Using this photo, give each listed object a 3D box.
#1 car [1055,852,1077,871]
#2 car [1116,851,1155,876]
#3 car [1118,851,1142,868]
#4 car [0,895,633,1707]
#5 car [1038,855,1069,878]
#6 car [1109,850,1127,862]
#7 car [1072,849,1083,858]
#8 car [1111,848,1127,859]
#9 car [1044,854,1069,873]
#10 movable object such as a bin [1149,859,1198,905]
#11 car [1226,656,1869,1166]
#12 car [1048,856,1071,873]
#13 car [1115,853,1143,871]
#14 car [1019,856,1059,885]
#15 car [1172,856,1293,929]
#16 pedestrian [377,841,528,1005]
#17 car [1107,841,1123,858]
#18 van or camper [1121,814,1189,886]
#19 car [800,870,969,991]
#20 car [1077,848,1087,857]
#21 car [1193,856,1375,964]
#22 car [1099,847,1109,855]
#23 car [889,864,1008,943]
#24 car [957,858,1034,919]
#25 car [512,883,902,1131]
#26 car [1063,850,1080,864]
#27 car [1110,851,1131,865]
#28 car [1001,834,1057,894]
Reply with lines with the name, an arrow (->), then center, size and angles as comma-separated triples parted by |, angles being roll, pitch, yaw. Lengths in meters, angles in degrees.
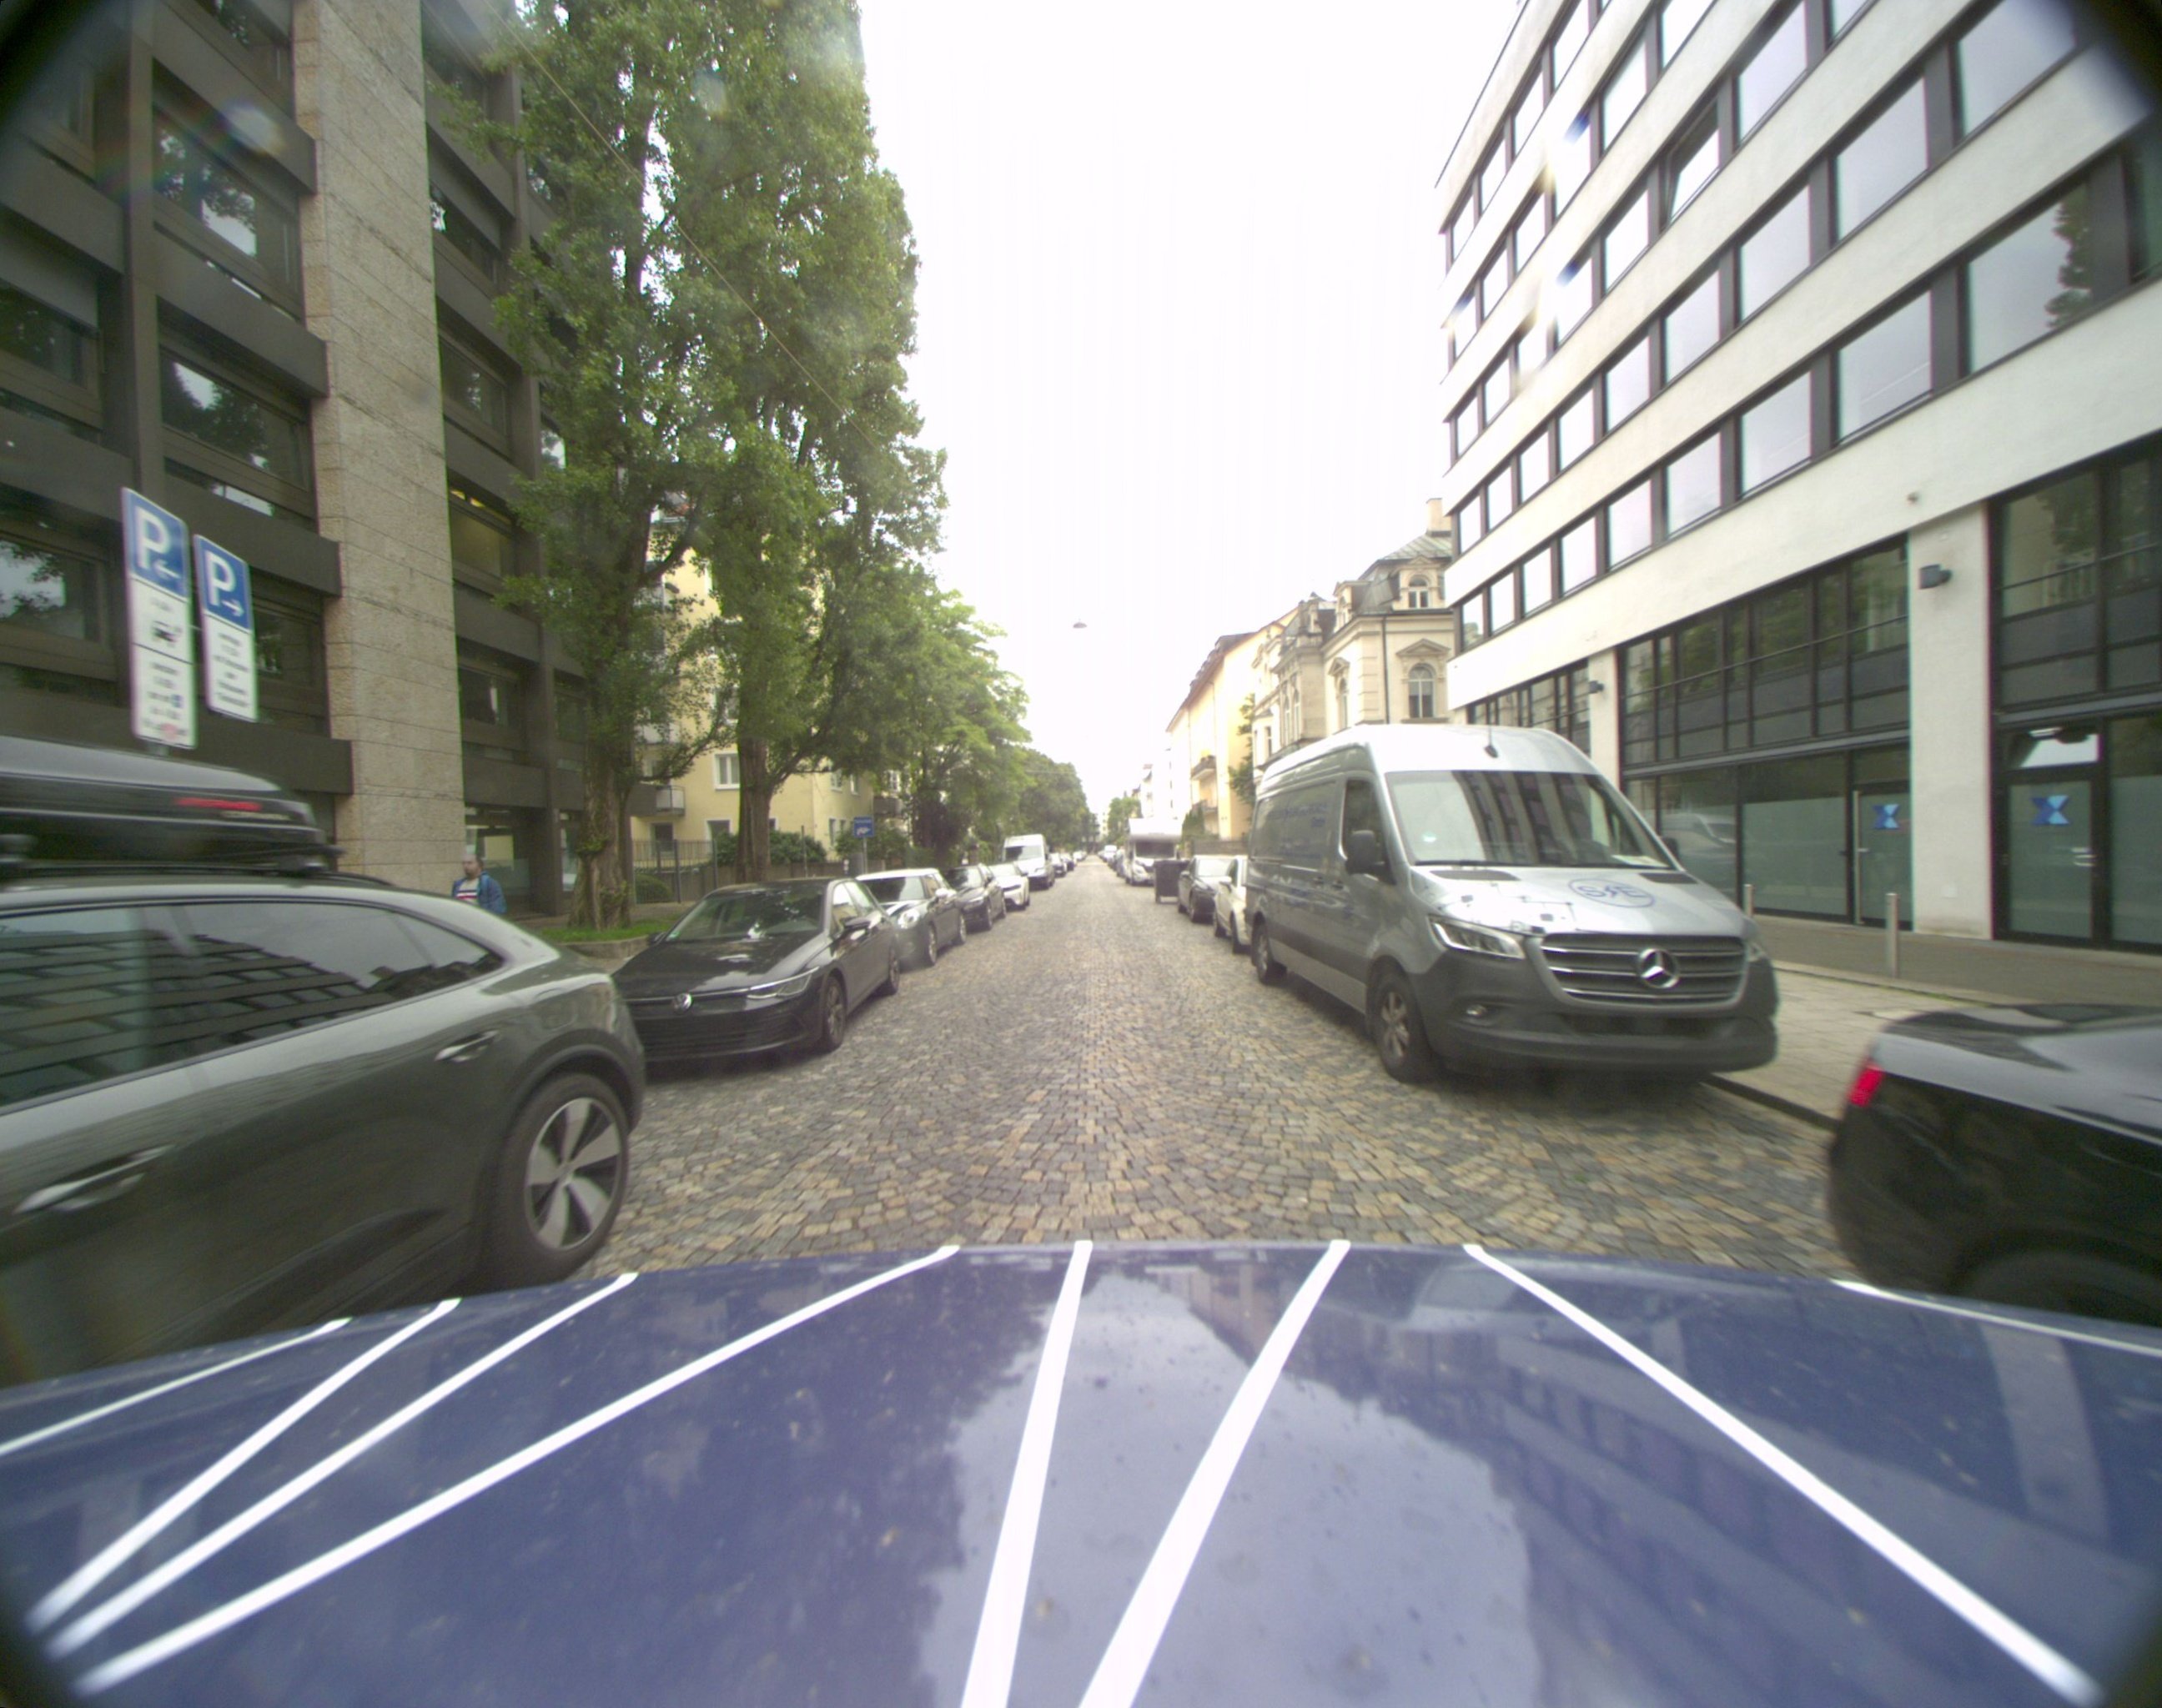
car -> -1.515, 0.691, 74.324 | 1.999, 1.680, 3.872 | -4, 1, -1
car -> 3.412, 0.566, 47.924 | 1.999, 1.380, 3.872 | -4, 1, -1
car -> 4.753, 0.514, 74.146 | 1.999, 1.401, 3.872 | -4, 1, -1
car -> -2.985, 1.032, 1.114 | 1.998, 1.573, 4.341 | -3, 1, 0
car -> -1.920, 0.878, 53.524 | 1.999, 1.380, 3.872 | -4, 1, -1
car -> 4.635, 0.236, 96.161 | 1.999, 1.401, 3.872 | -4, 1, -1
car -> -0.775, -0.118, 149.020 | 1.999, 1.680, 3.872 | -4, 1, -1
car -> 5.492, -0.063, 109.930 | 1.999, 1.402, 3.872 | 0, 1, -1
car -> -1.986, 0.762, 62.355 | 1.999, 1.380, 3.873 | -2, 1, -1
movable object such as a bin -> 2.798, 0.822, 23.028 | 1.255, 1.290, 1.174 | -2, 1, -3
car -> 2.888, 0.262, 6.707 | 2.065, 2.476, 5.848 | -2, 1, 0
car -> -1.945, 0.917, 69.009 | 1.999, 1.380, 3.872 | -4, 1, -1
car -> 4.135, 0.649, 65.901 | 1.999, 1.401, 3.872 | -4, 1, -1
car -> -2.264, 0.871, 41.700 | 1.999, 1.380, 3.872 | -4, 1, -1
car -> 3.331, 0.782, 17.482 | 1.998, 1.380, 4.000 | -2, 1, 1
pedestrian -> -6.974, 0.723, 8.470 | 0.867, 1.704, 0.913 | -2, 1, 21
car -> 5.375, -0.703, 120.393 | 2.088, 2.418, 5.610 | -4, 1, 0
van or camper -> 3.430, -0.208, 36.919 | 2.464, 3.030, 7.316 | -2, 1, 0
car -> -2.932, 1.071, 12.107 | 1.604, 1.422, 3.562 | -4, 1, 1
car -> 0.181, -0.297, 161.348 | 1.999, 1.680, 3.872 | -4, 1, -1
car -> 3.161, 0.803, 12.747 | 1.998, 1.422, 4.000 | -2, 1, 1
car -> 5.317, -0.670, 176.109 | 1.999, 1.680, 3.872 | -4, 1, -1
car -> -2.827, 1.011, 17.106 | 1.999, 1.380, 3.872 | -4, 1, -1
car -> -2.440, 0.956, 22.593 | 1.867, 1.490, 3.872 | -4, 1, -1
car -> -2.949, 1.085, 7.121 | 1.724, 1.382, 4.204 | -2, 1, -3
car -> -1.275, 0.410, 99.715 | 1.999, 1.680, 3.872 | -4, 1, -1
car -> 4.364, 0.396, 84.823 | 1.999, 1.401, 3.872 | -4, 1, -1
car -> -2.288, 0.375, 34.989 | 2.088, 2.418, 5.610 | -4, 1, 0
